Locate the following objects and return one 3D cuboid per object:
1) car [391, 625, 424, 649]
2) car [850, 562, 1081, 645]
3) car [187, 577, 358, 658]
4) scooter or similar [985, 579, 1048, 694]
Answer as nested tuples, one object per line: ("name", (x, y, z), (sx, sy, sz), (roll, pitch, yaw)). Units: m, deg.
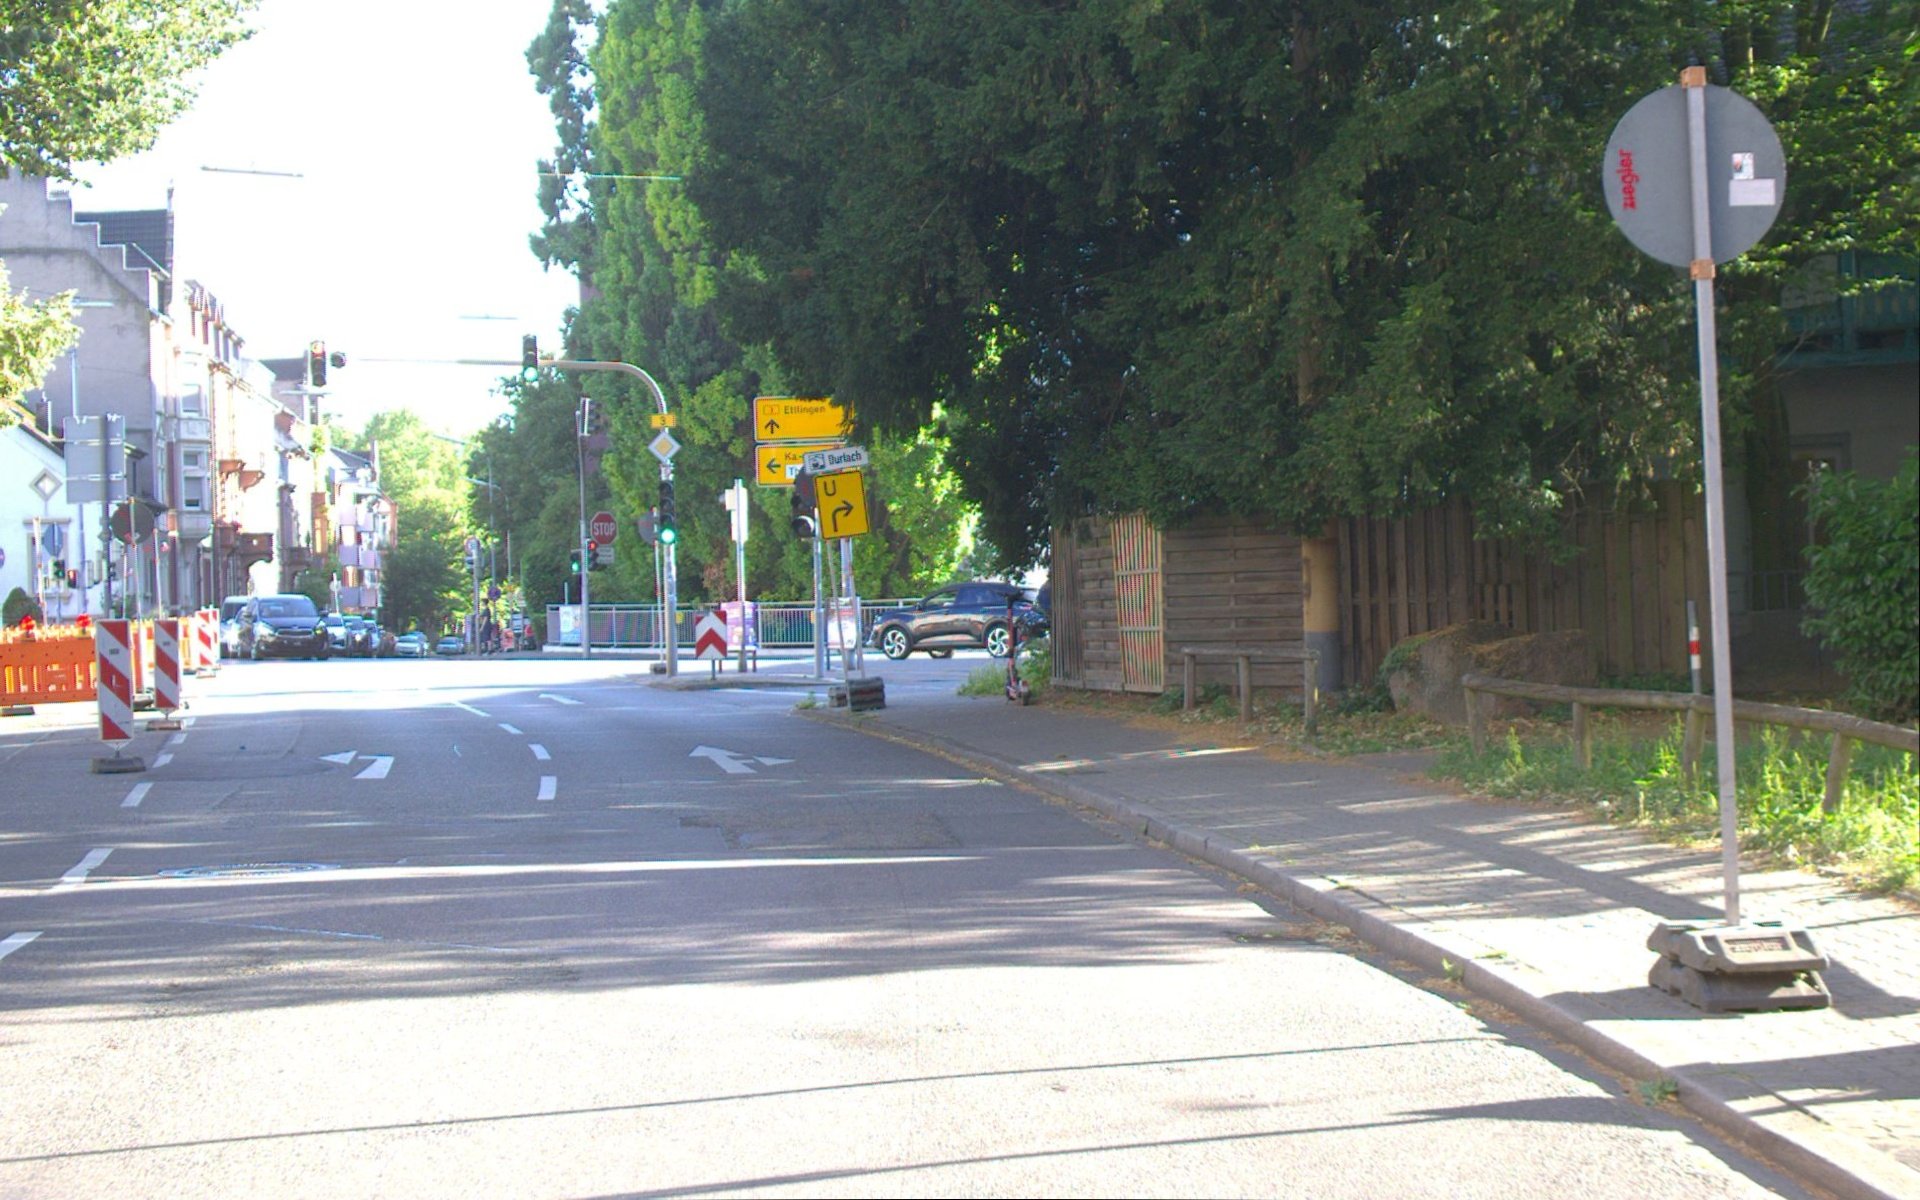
("car", (-37.981, 2.551, 236.401), (1.993, 1.486, 4.471), (-2, 1, -6))
("car", (0.099, 0.104, 74.168), (4.658, 1.665, 1.996), (-1, -3, 35))
("car", (-16.919, 0.412, 84.463), (4.249, 1.809, 1.995), (0, 4, 44))
("scooter or similar", (0.613, 0.389, 37.626), (0.438, 1.198, 1.259), (-4, 1, -7))
